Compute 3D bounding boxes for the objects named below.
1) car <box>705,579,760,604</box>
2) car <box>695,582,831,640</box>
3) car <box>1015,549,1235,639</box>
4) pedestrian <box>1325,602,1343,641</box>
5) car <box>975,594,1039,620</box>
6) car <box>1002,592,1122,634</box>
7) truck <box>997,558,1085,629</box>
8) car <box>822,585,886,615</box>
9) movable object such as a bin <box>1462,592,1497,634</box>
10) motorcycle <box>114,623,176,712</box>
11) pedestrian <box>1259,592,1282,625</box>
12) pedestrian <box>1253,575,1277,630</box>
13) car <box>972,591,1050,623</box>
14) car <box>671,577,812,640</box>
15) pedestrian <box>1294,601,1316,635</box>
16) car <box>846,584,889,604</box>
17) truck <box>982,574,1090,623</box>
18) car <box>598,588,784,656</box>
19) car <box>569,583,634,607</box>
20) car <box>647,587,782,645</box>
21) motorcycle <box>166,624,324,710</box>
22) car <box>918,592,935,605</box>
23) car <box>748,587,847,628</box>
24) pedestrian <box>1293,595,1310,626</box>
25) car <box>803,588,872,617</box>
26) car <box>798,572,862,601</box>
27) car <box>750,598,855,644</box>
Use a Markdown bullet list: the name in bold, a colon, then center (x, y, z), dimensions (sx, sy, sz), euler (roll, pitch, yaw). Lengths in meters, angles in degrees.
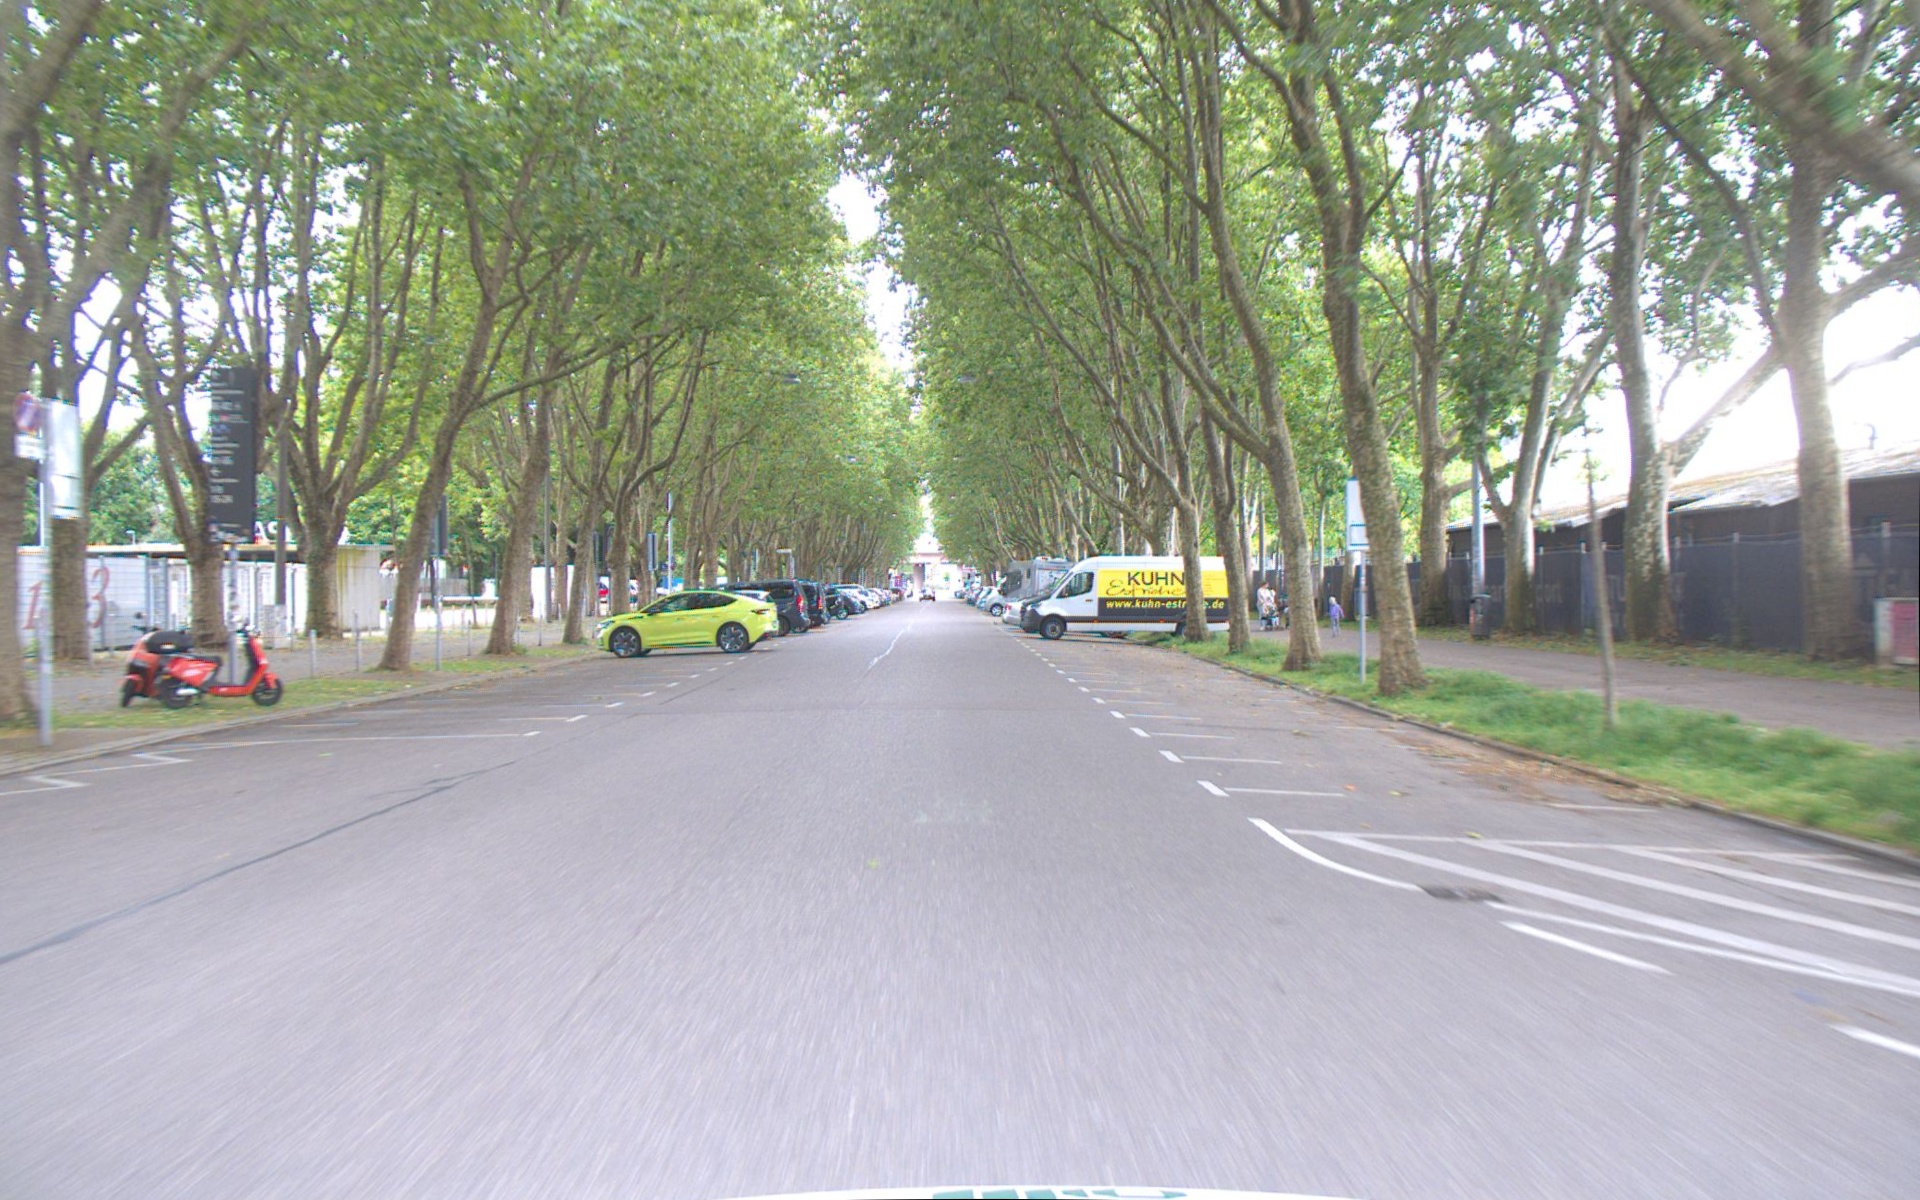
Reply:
- **car**: center (-24.582, -0.941, 179.020), dimensions (5.668, 2.642, 2.000), euler (0, 0, 0)
- **car**: center (-7.361, 0.403, 62.170), dimensions (4.805, 1.957, 2.208), euler (-2, 0, 0)
- **car**: center (5.150, -0.179, 52.334), dimensions (6.739, 2.742, 2.127), euler (0, 0, 0)
- **pedestrian**: center (10.767, 0.619, 47.652), dimensions (0.387, 1.103, 0.419), euler (-3, 0, 3)
- **car**: center (2.999, 0.445, 106.056), dimensions (4.035, 1.454, 1.703), euler (2, 0, 1)
- **car**: center (3.678, 0.461, 59.771), dimensions (4.268, 1.471, 1.613), euler (0, 0, 3)
- **truck**: center (3.508, -0.280, 73.559), dimensions (2.413, 2.989, 7.522), euler (0, 0, -9)
- **car**: center (-8.220, 0.006, 128.569), dimensions (4.795, 2.054, 1.919), euler (-2, 0, -2)
- **movable object such as a bin**: center (12.742, 0.318, 40.575), dimensions (0.557, 0.975, 0.674), euler (-5, 0, -2)
- **motorcycle**: center (-11.658, 0.938, 23.699), dimensions (0.565, 1.178, 2.065), euler (0, 0, -20)
- **pedestrian**: center (10.207, 0.273, 54.439), dimensions (0.626, 1.078, 0.676), euler (0, 0, 1)
- **pedestrian**: center (10.176, 0.079, 55.243), dimensions (0.626, 1.771, 0.621), euler (-2, 0, 2)
- **car**: center (2.819, 0.400, 91.136), dimensions (4.250, 1.646, 1.804), euler (2, 0, 2)
- **car**: center (-7.490, 0.279, 57.077), dimensions (4.670, 1.957, 2.016), euler (-2, 0, -6)
- **pedestrian**: center (11.350, 0.581, 54.430), dimensions (0.580, 1.067, 0.589), euler (-2, 0, 2)
- **car**: center (-8.148, -0.528, 145.578), dimensions (3.751, 1.656, 1.951), euler (-2, 0, -4)
- **truck**: center (4.423, -0.116, 95.962), dimensions (6.163, 2.762, 2.098), euler (0, 0, 2)
- **car**: center (-6.823, 0.551, 42.227), dimensions (4.423, 1.646, 1.758), euler (-1, 0, 1)
- **car**: center (-34.470, -0.456, 159.123), dimensions (5.880, 2.292, 2.000), euler (0, 0, -1)
- **car**: center (-7.665, 0.500, 52.014), dimensions (4.025, 1.596, 1.756), euler (-3, 0, -6)
- **motorcycle**: center (-10.355, 0.948, 24.032), dimensions (0.565, 1.178, 2.064), euler (0, 0, 42)
- **car**: center (-3.849, -0.165, 190.090), dimensions (1.622, 1.388, 4.108), euler (-3, 0, -4)
- **car**: center (-7.802, 0.349, 79.404), dimensions (4.572, 1.852, 1.800), euler (-1, -1, -12)
- **pedestrian**: center (11.510, 0.350, 55.731), dimensions (0.415, 1.053, 0.391), euler (1, 0, -41)
- **car**: center (-7.810, 0.144, 105.549), dimensions (4.292, 1.624, 1.999), euler (-2, 0, -3)
- **car**: center (-8.888, -0.926, 113.504), dimensions (4.254, 1.696, 1.999), euler (-3, 0, -3)
- **car**: center (-8.256, 1.100, 87.147), dimensions (5.327, 2.165, 1.939), euler (-3, 1, -2)
